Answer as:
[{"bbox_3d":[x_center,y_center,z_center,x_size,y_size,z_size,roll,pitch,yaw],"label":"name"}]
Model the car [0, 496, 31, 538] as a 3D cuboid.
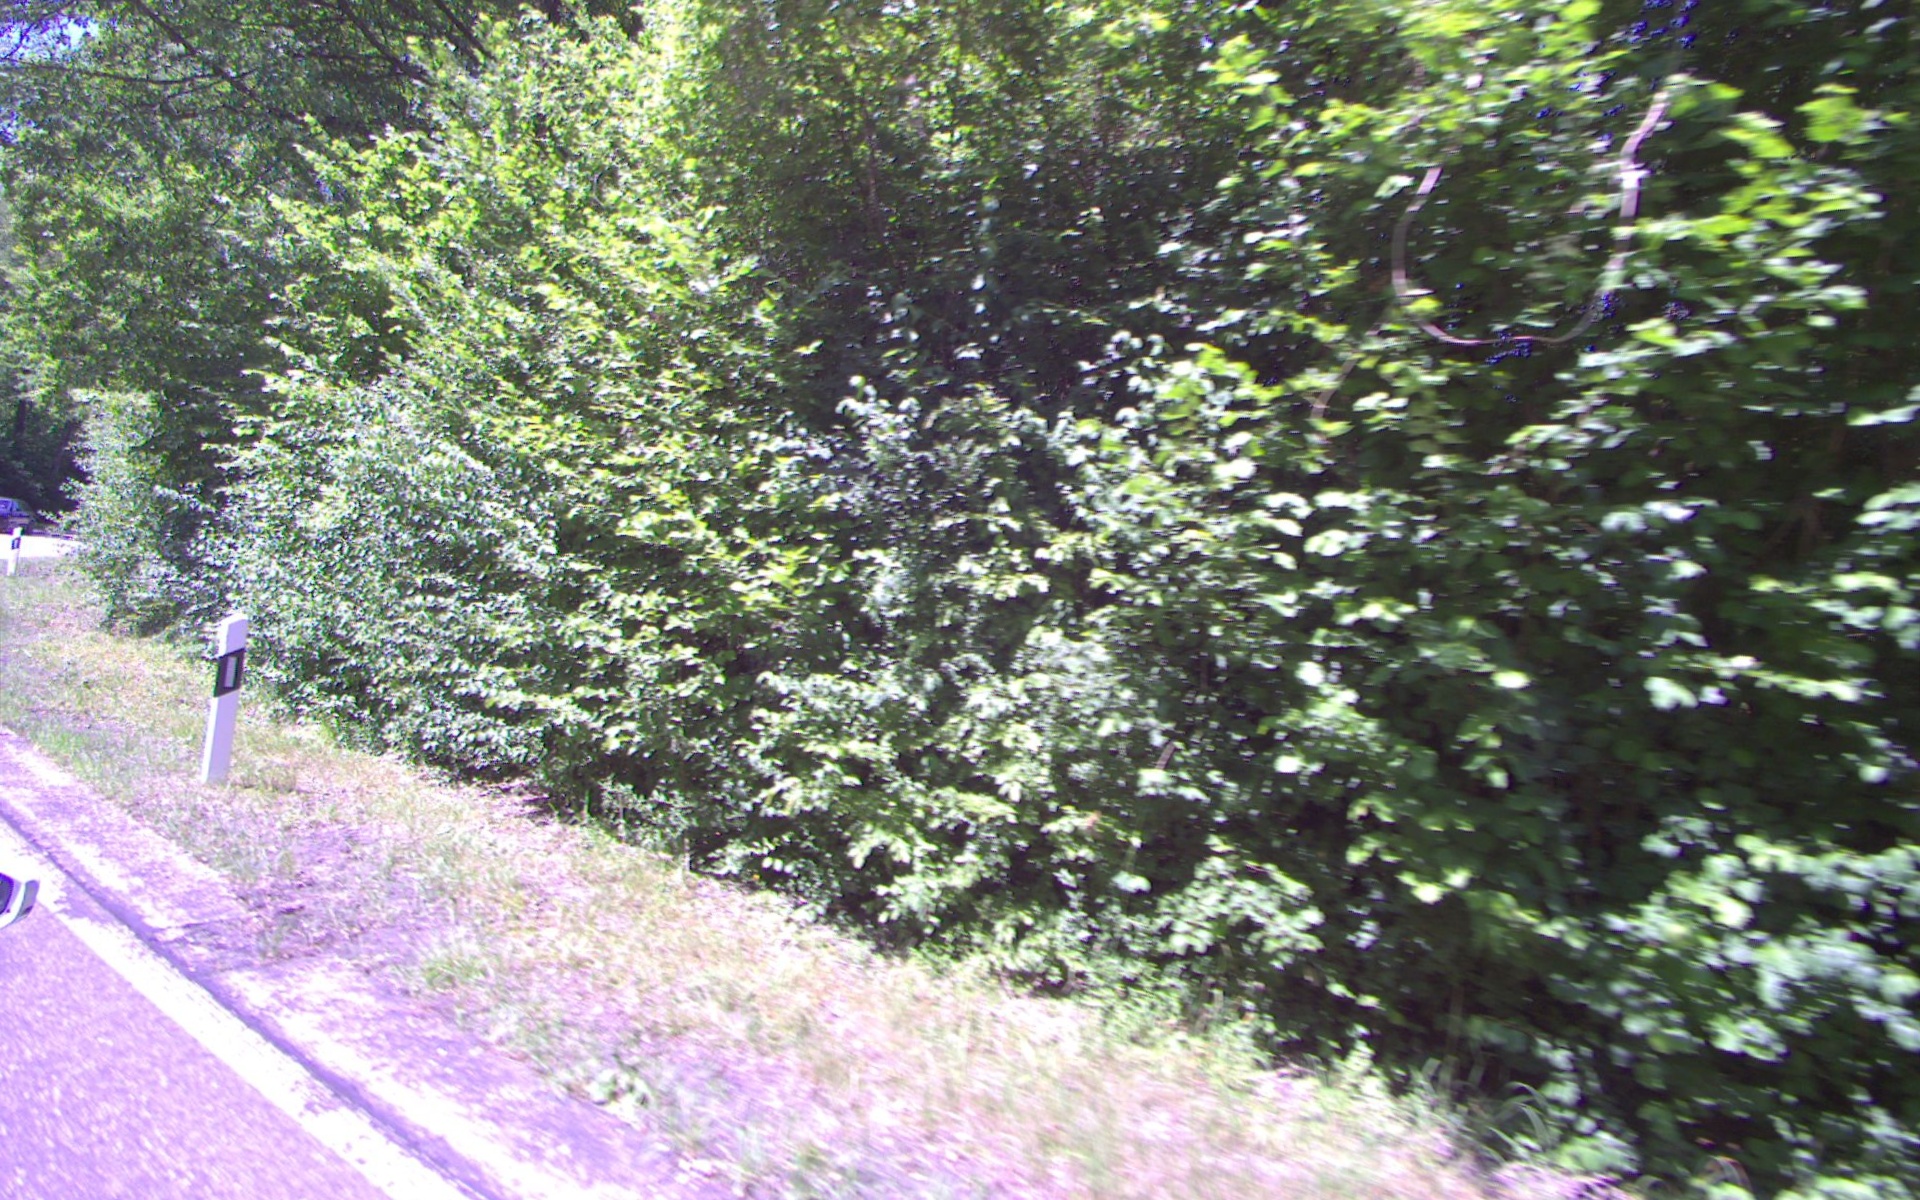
[{"bbox_3d":[-39.882,-3.498,41.197,1.745,1.592,4.332,8,-2,-31],"label":"car"}]
